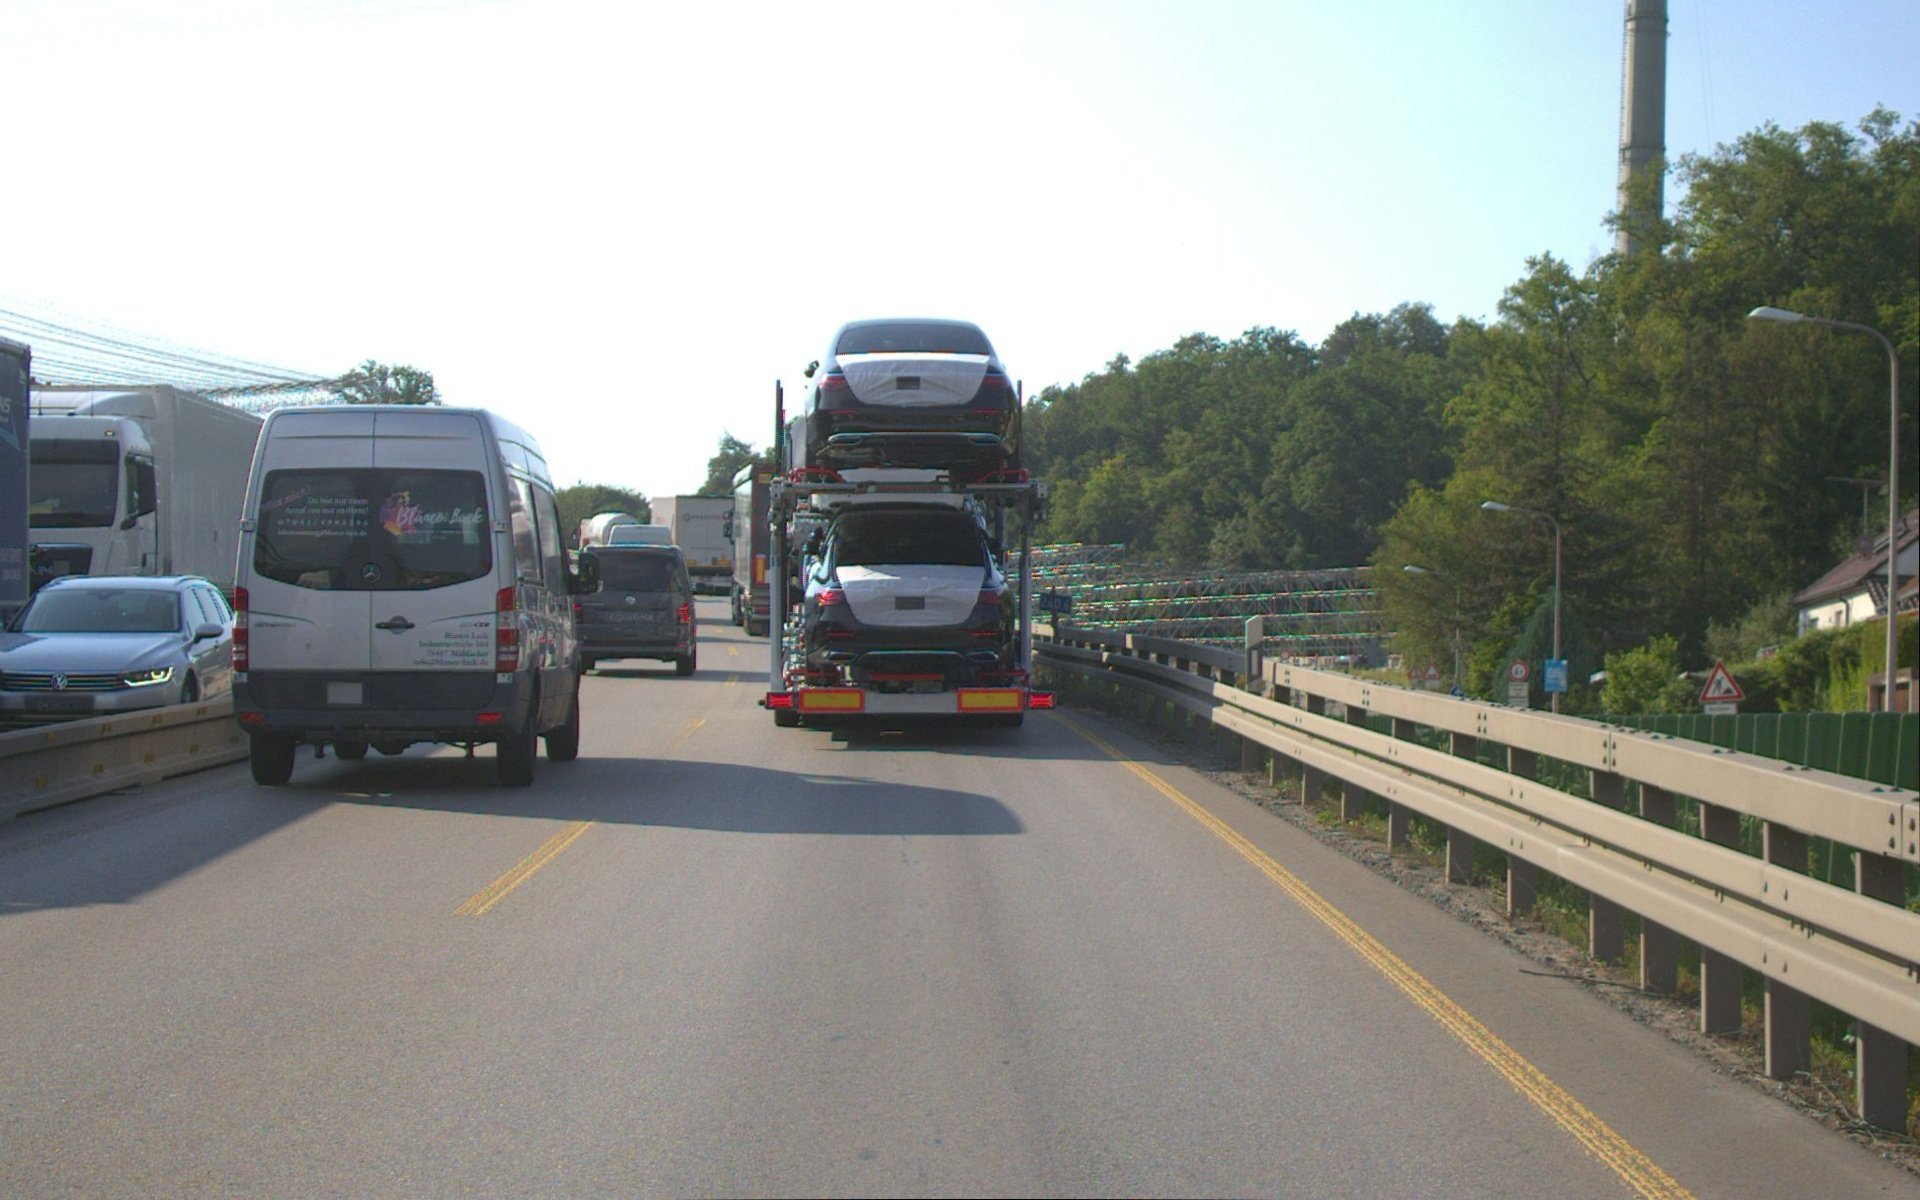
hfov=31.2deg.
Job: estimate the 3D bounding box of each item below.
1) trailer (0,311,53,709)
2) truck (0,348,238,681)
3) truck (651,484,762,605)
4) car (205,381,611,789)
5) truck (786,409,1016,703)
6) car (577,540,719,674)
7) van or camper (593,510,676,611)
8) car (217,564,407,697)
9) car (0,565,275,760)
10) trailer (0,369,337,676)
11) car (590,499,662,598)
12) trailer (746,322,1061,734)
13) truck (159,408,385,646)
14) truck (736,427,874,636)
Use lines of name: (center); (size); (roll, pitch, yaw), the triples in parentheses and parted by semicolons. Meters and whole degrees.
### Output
trailer: (-11.072, -0.907, 33.013); (2.605, 4.098, 9.628); (0, 0, -3)
truck: (-11.765, -1.079, 46.428); (2.709, 4.079, 6.204); (4, -1, -3)
truck: (-10.644, -2.246, 143.380); (4.064, 4.663, 10.594); (3, 0, -6)
car: (-3.959, -0.117, 25.665); (1.993, 2.639, 5.530); (2, 0, 0)
truck: (-0.892, -0.502, 45.019); (2.682, 3.523, 7.194); (0, -1, -3)
car: (-4.809, 0.134, 53.507); (1.808, 1.897, 4.000); (4, -1, -1)
van or camper: (-8.974, -1.053, 95.107); (1.968, 2.583, 5.042); (4, -1, -4)
car: (-8.275, 0.397, 44.206); (1.661, 1.525, 4.000); (4, -1, -1)
car: (-7.338, 0.524, 30.059); (1.772, 1.532, 4.402); (2, -1, 0)
trailer: (-12.099, -1.021, 53.857); (2.709, 4.079, 12.569); (4, -1, -3)
car: (-18.126, -2.771, 186.040); (3.444, 5.018, 9.655); (4, 0, -6)
trailer: (-0.597, -0.553, 37.278); (2.682, 3.523, 15.288); (-1, -1, -1)
truck: (-13.112, -1.343, 66.139); (2.982, 4.139, 7.393); (4, 0, -3)
truck: (-3.663, -1.556, 81.349); (2.907, 4.591, 7.286); (3, 0, -3)
